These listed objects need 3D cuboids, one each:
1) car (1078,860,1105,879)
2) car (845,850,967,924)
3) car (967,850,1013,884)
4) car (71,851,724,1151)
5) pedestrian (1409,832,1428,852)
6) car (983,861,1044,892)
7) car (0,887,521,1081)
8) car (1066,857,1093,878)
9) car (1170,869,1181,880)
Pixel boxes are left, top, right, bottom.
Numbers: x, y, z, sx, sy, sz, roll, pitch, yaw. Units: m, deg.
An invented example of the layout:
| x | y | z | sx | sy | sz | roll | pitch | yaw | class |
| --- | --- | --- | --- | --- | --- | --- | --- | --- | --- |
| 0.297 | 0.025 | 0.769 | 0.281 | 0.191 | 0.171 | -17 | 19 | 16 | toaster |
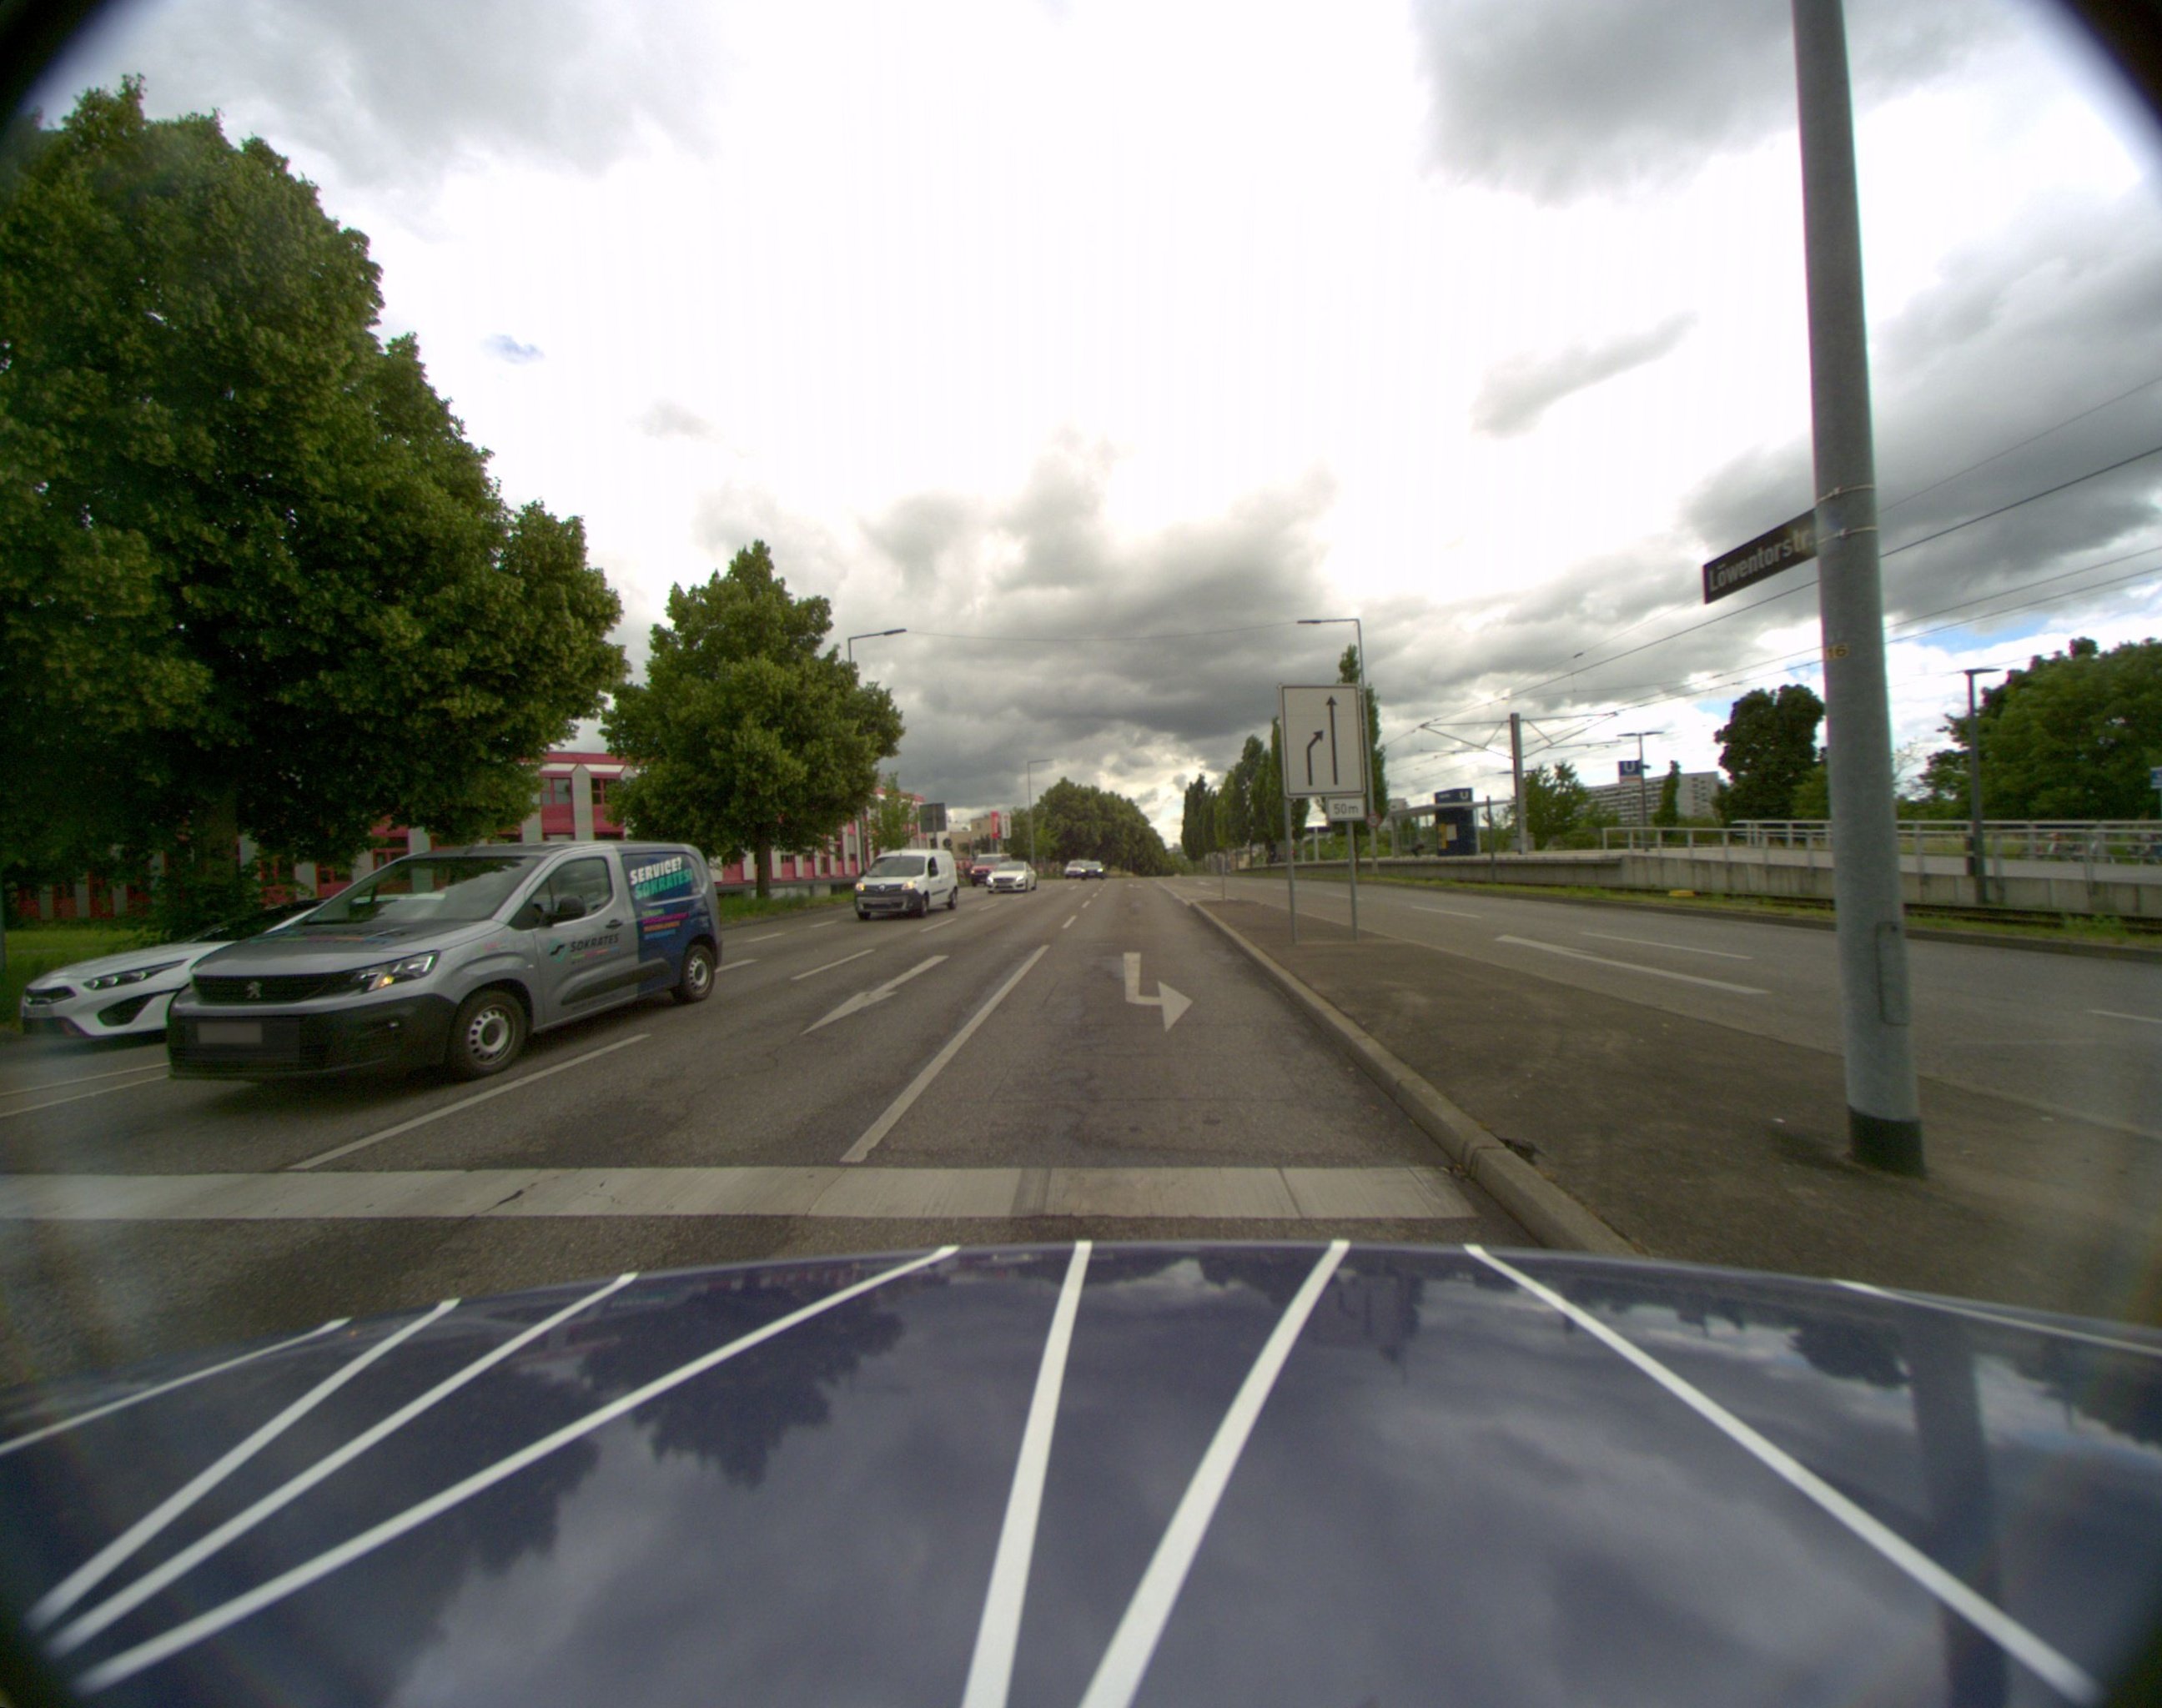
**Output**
| x | y | z | sx | sy | sz | roll | pitch | yaw | class |
| --- | --- | --- | --- | --- | --- | --- | --- | --- | --- |
| 0.854 | 1.279 | 60.953 | 1.813 | 1.332 | 4.226 | -2 | -3 | 5 | car |
| -4.669 | 0.832 | 21.038 | 1.812 | 1.781 | 4.699 | -2 | -1 | 6 | car |
| -5.635 | 0.860 | 47.454 | 2.183 | 1.893 | 4.456 | -2 | -3 | 2 | car |
| -5.162 | 0.896 | 6.742 | 1.813 | 1.770 | 4.222 | -2 | 1 | 2 | car |
| 20.150 | -0.739 | 45.324 | 0.751 | 1.169 | 0.838 | -2 | 1 | 3 | pedestrian |
| -3.065 | 1.082 | 35.453 | 1.812 | 1.332 | 4.227 | -2 | -3 | 9 | car |
| -9.610 | 1.307 | 9.110 | 1.833 | 1.412 | 4.517 | -4 | 1 | 11 | car |
| -0.118 | 1.316 | 77.148 | 1.949 | 1.895 | 5.239 | -2 | 1 | 7 | car |
| 18.895 | 4.003 | 151.634 | 1.998 | 2.002 | 4.001 | -2 | 1 | 5 | car |
